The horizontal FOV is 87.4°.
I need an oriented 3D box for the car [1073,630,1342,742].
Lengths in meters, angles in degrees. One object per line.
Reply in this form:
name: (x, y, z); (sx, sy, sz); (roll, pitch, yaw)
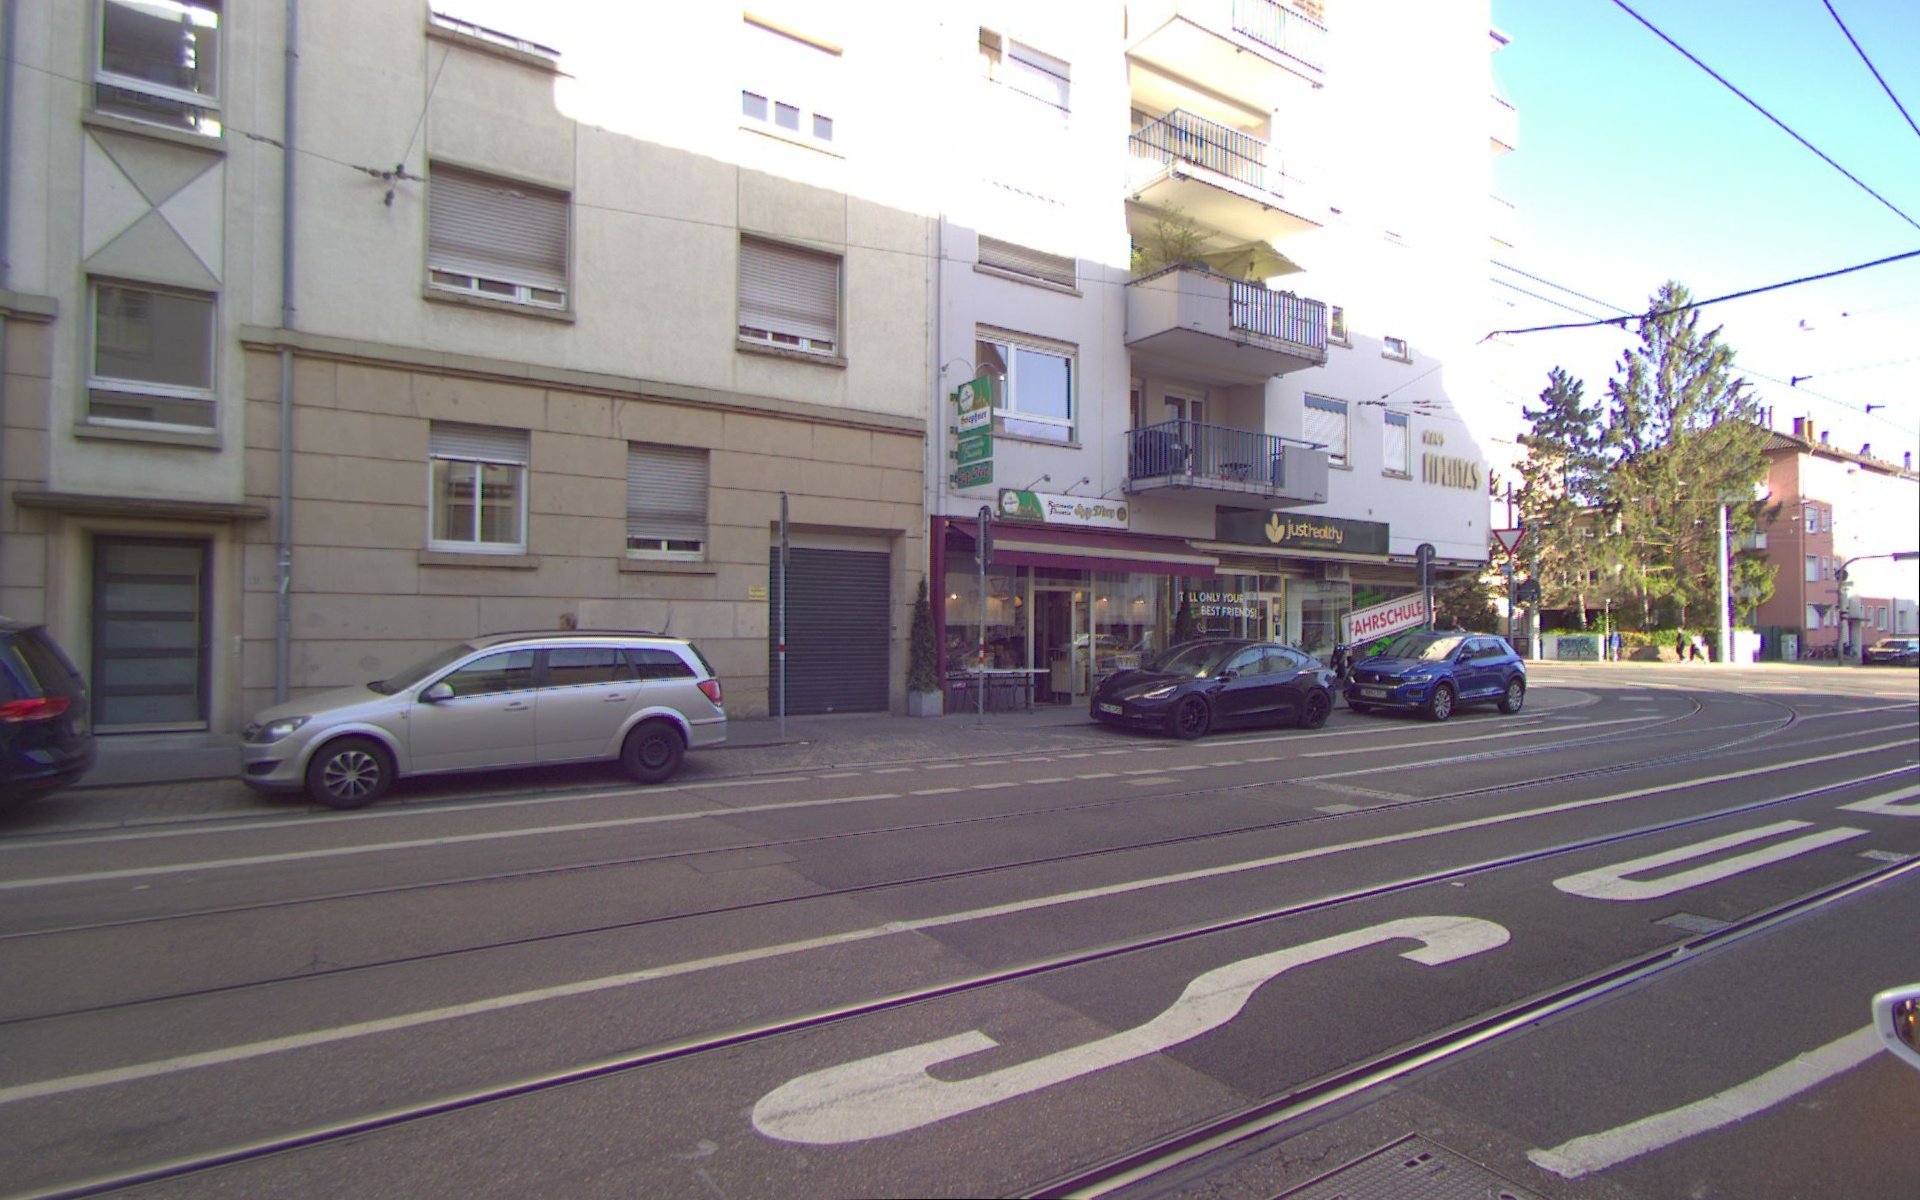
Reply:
car: (4.013, 1.302, 16.032); (4.265, 1.529, 1.689); (2, -1, -33)

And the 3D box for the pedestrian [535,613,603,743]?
pedestrian: (-4.900, 0.953, 12.583); (0.713, 1.569, 0.694); (0, -1, -30)

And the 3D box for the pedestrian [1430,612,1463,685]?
pedestrian: (13.894, 1.378, 28.686); (0.480, 2.040, 0.683); (1, -1, -30)

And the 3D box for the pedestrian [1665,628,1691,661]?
pedestrian: (37.408, 2.323, 52.340); (0.722, 1.713, 0.847); (0, -1, 3)

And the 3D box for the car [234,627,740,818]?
car: (-4.631, 1.102, 10.222); (4.341, 1.529, 1.689); (2, -1, -34)

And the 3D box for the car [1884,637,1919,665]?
car: (54.244, 2.852, 56.938); (3.959, 1.517, 1.899); (1, -2, -34)

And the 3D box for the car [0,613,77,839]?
car: (-9.126, 0.889, 7.040); (4.202, 1.637, 1.688); (2, -1, -36)

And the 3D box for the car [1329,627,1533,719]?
car: (8.983, 1.324, 19.068); (3.959, 1.529, 1.733); (2, -1, -35)

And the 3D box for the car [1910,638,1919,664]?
car: (58.073, 2.996, 59.450); (3.959, 1.517, 1.899); (1, -2, -34)

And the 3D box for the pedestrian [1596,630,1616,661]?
pedestrian: (34.777, 2.423, 54.106); (0.835, 1.647, 0.515); (-1, -2, 27)

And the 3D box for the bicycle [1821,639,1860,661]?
bicycle: (52.190, 2.934, 59.522); (3.267, 1.241, 0.844); (1, -2, -32)

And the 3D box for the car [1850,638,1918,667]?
car: (49.508, 2.784, 53.811); (3.961, 1.452, 1.898); (1, -2, -36)

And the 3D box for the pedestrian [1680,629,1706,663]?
pedestrian: (37.347, 2.346, 51.208); (0.722, 1.713, 0.847); (0, -1, 4)

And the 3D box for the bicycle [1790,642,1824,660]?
bicycle: (47.140, 2.805, 55.899); (2.568, 0.964, 0.729); (1, -2, -32)
